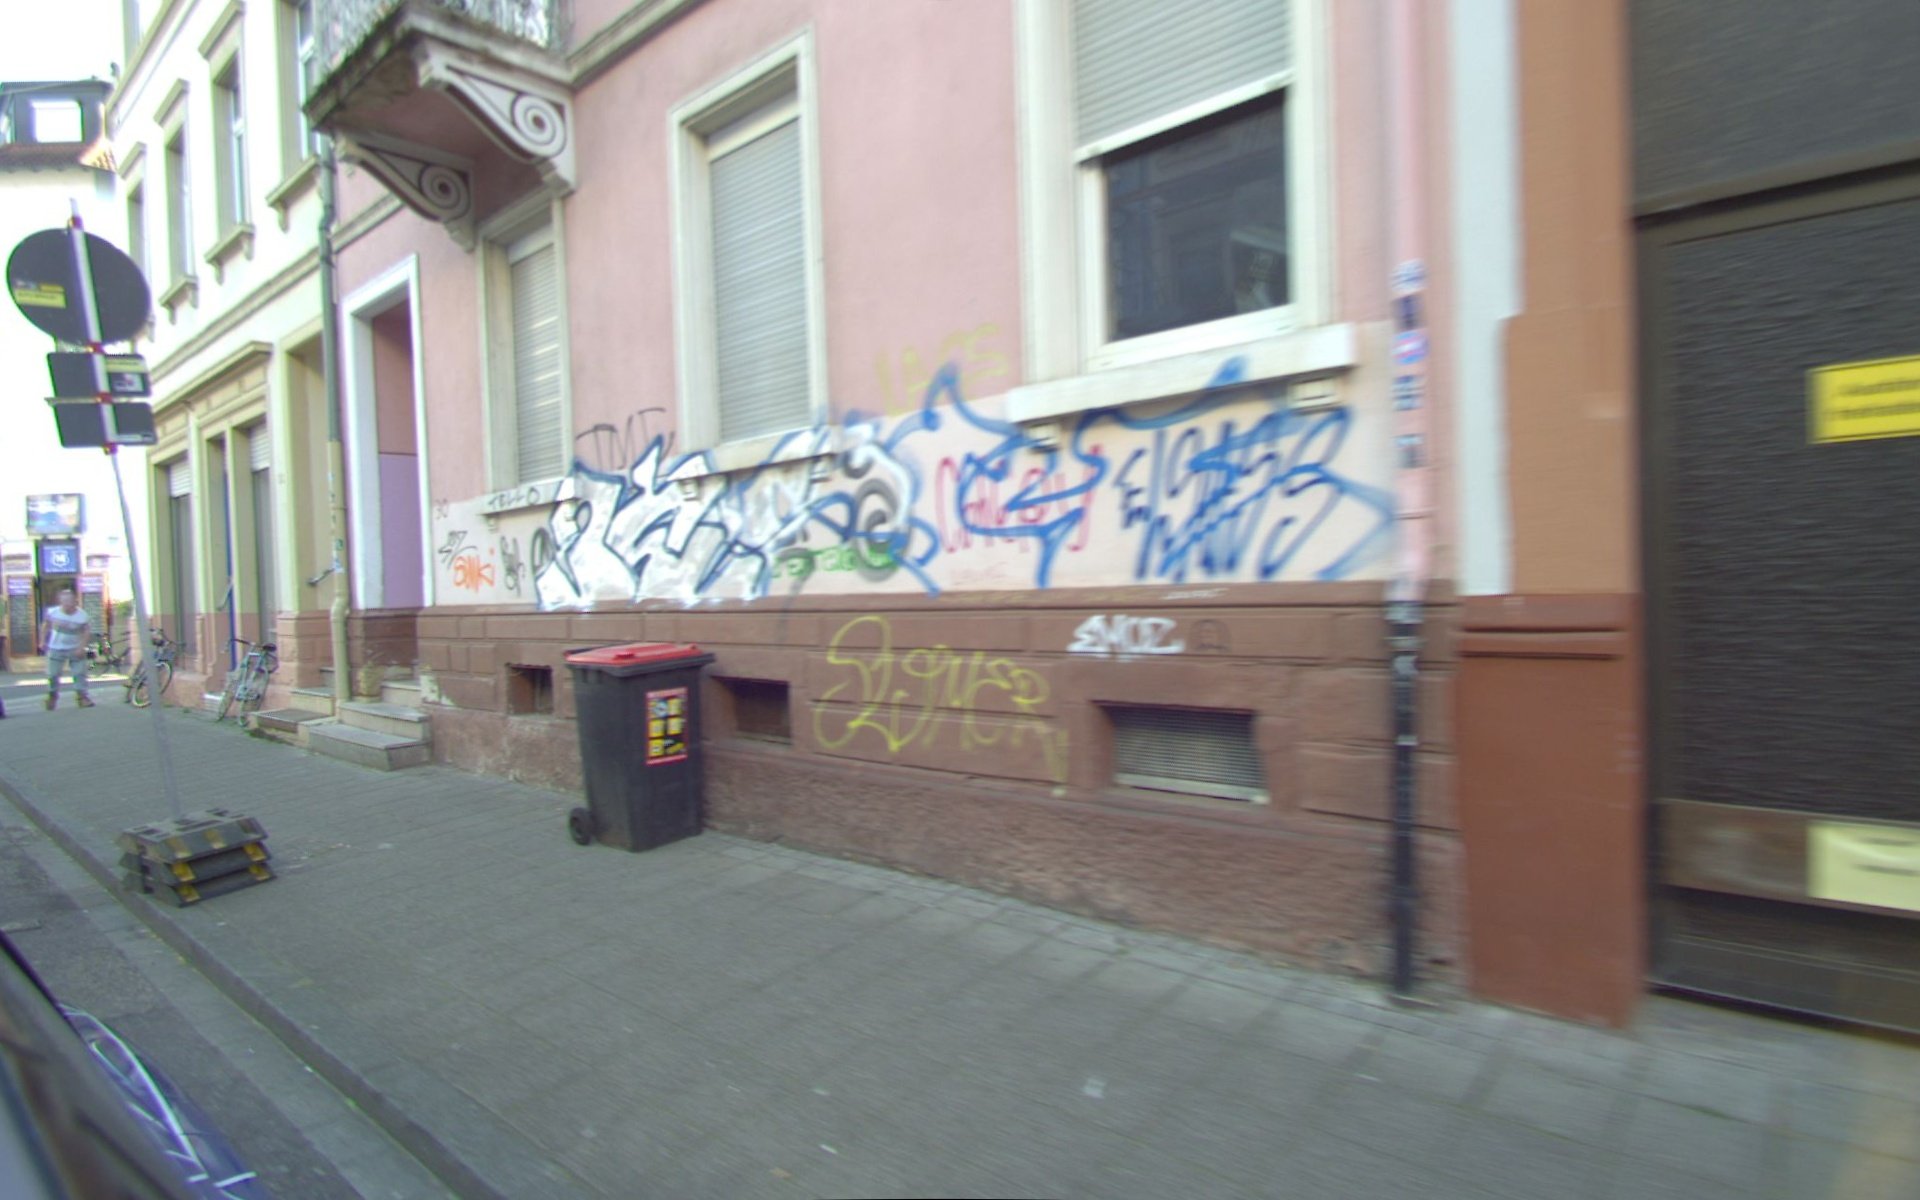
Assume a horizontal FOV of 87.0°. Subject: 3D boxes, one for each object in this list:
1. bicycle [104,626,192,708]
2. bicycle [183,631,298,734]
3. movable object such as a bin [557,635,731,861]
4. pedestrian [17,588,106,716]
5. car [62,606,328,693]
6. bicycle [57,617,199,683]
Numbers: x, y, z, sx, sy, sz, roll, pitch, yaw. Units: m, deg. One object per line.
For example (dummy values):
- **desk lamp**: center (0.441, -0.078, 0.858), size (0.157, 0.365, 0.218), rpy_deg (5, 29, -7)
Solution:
- **bicycle**: center (-11.535, 0.917, 14.362), size (1.817, 1.029, 0.597), rpy_deg (-1, 5, 42)
- **bicycle**: center (-8.072, 0.881, 11.332), size (1.817, 1.030, 0.616), rpy_deg (-2, 2, 42)
- **movable object such as a bin**: center (-1.652, 0.732, 5.307), size (0.596, 1.043, 0.599), rpy_deg (-1, 2, 40)
- **pedestrian**: center (-12.893, 0.740, 14.524), size (0.864, 1.713, 0.687), rpy_deg (-4, 3, 41)
- **car**: center (-15.884, 0.964, 21.192), size (1.756, 1.466, 4.101), rpy_deg (-2, 1, 38)
- **bicycle**: center (-19.509, 1.139, 23.779), size (0.928, 1.369, 2.450), rpy_deg (-1, 1, 42)
